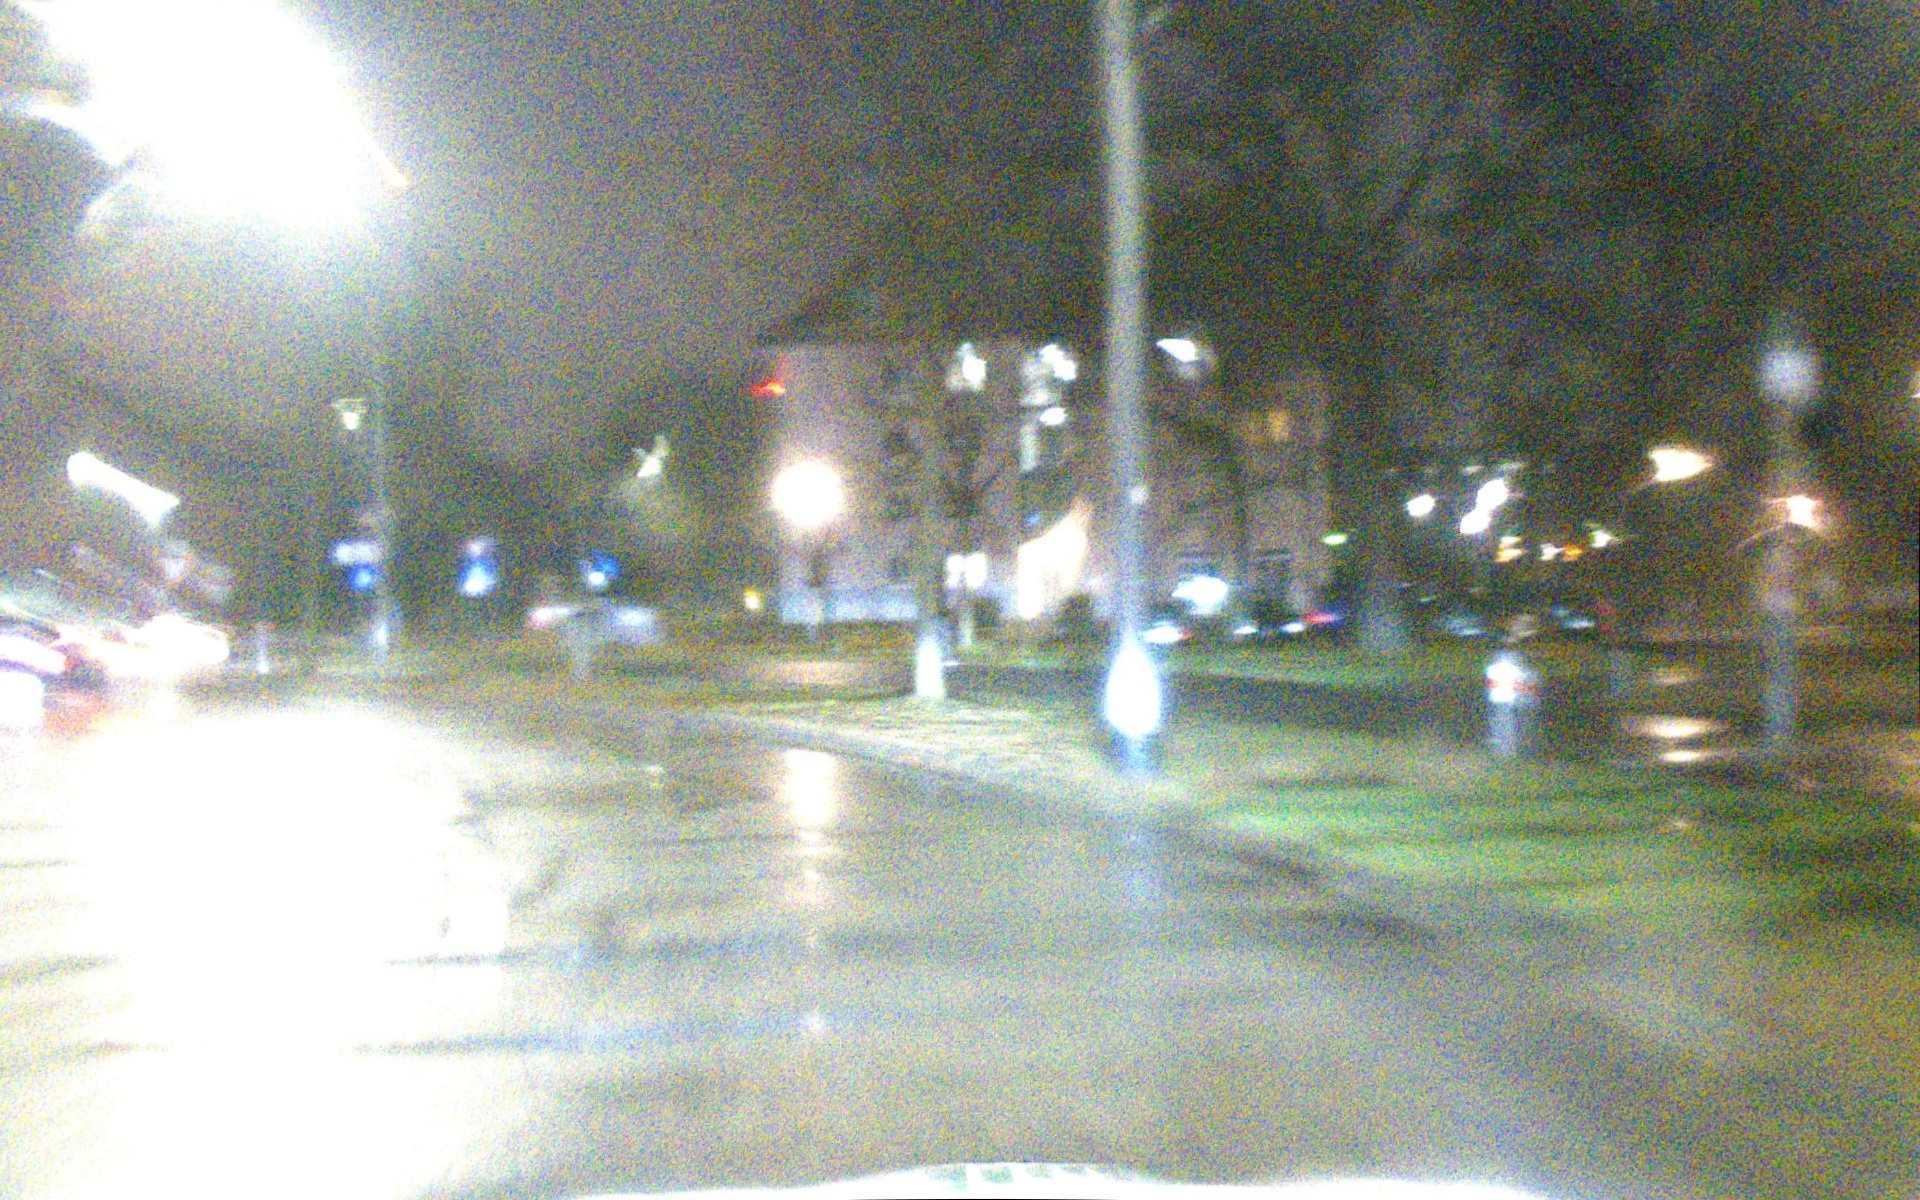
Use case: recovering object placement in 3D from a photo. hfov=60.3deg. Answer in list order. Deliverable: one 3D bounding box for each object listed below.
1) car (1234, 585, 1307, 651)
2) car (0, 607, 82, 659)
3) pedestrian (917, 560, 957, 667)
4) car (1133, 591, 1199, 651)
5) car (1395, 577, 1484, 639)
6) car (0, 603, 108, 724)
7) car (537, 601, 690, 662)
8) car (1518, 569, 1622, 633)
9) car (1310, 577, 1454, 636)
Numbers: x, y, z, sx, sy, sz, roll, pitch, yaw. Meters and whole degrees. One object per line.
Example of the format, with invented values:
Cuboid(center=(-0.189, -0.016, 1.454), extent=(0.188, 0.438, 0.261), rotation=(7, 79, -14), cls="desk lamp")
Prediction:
Cuboid(center=(8.060, 0.508, 43.171), extent=(1.679, 1.523, 3.914), rotation=(-1, -3, 8), cls="car")
Cuboid(center=(-33.077, 1.122, 57.235), extent=(1.952, 1.766, 4.621), rotation=(0, 0, 20), cls="car")
Cuboid(center=(-0.421, 0.252, 30.301), extent=(0.640, 1.935, 0.727), rotation=(0, 0, -9), cls="pedestrian")
Cuboid(center=(5.511, 0.541, 44.039), extent=(1.679, 1.523, 3.915), rotation=(0, 0, 8), cls="car")
Cuboid(center=(12.333, 0.193, 42.757), extent=(1.679, 1.523, 3.915), rotation=(0, 0, 8), cls="car")
Cuboid(center=(-16.923, 1.081, 30.330), extent=(1.974, 2.049, 4.507), rotation=(0, 0, -32), cls="car")
Cuboid(center=(-10.036, 0.898, 47.936), extent=(3.903, 1.713, 1.920), rotation=(0, 0, 17), cls="car")
Cuboid(center=(15.493, 0.028, 42.178), extent=(1.679, 1.563, 3.915), rotation=(0, 0, 8), cls="car")
Cuboid(center=(12.337, 0.190, 48.571), extent=(3.968, 1.711, 1.794), rotation=(0, 0, 10), cls="car")
